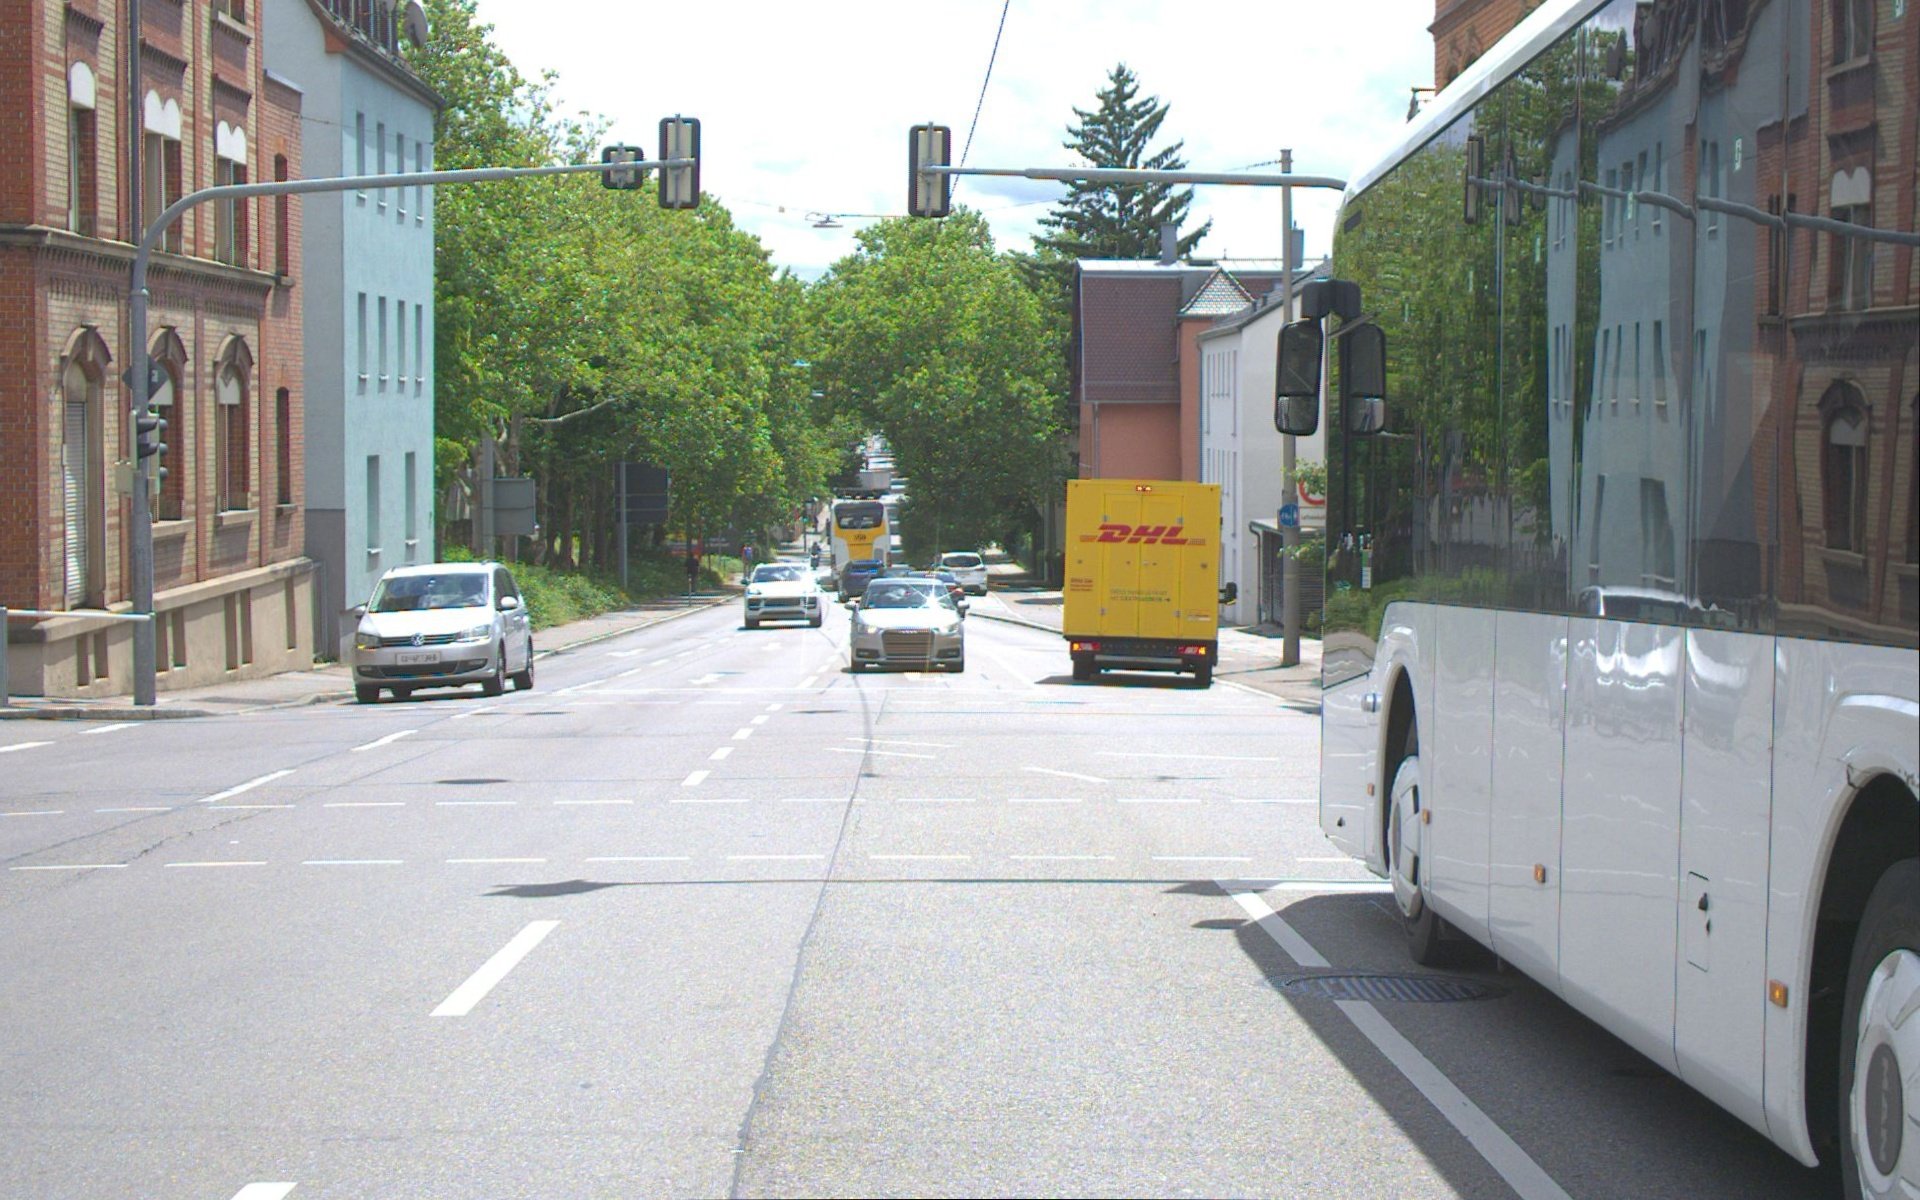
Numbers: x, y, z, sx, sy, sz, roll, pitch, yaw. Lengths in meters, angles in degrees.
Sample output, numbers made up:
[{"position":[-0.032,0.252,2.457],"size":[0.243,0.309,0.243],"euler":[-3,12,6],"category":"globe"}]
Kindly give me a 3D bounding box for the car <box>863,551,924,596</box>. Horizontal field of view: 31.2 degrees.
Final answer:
[{"position":[-2.072,-0.843,108.574],"size":[1.865,1.363,4.547],"euler":[-1,1,-1],"category":"car"}]

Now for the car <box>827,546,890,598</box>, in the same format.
[{"position":[-3.624,-1.001,122.287],"size":[2.091,1.824,4.143],"euler":[0,1,-4],"category":"car"}]

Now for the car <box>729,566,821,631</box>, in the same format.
[{"position":[-4.789,-0.070,89.638],"size":[2.207,1.607,4.547],"euler":[-1,1,-1],"category":"car"}]

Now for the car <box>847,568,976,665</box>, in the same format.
[{"position":[-0.730,0.216,52.325],"size":[1.865,1.363,4.547],"euler":[-1,1,-1],"category":"car"}]

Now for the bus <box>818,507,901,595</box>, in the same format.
[{"position":[-4.388,-2.134,148.038],"size":[3.300,3.618,11.246],"euler":[-1,1,-3],"category":"bus"}]

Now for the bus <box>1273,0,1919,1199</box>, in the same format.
[{"position":[2.964,-0.411,9.302],"size":[2.904,3.498,12.488],"euler":[1,1,-1],"category":"bus"}]

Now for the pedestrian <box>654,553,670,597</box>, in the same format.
[{"position":[-11.850,-1.003,136.741],"size":[0.606,1.752,0.654],"euler":[-1,1,-2],"category":"pedestrian"}]

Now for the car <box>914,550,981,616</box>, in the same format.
[{"position":[-0.364,-0.497,95.947],"size":[1.819,1.778,4.000],"euler":[-1,1,-1],"category":"car"}]

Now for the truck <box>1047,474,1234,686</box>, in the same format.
[{"position":[2.661,-0.308,50.930],"size":[2.541,2.903,6.572],"euler":[1,1,3],"category":"truck"}]

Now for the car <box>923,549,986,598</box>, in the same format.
[{"position":[-0.234,-1.016,129.535],"size":[2.091,1.824,4.143],"euler":[0,1,-4],"category":"car"}]

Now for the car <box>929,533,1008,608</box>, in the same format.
[{"position":[0.217,-0.842,96.192],"size":[1.993,2.007,4.001],"euler":[-1,1,-2],"category":"car"}]

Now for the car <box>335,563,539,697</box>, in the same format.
[{"position":[-6.529,0.335,43.329],"size":[1.935,1.558,4.389],"euler":[-1,1,-1],"category":"car"}]
